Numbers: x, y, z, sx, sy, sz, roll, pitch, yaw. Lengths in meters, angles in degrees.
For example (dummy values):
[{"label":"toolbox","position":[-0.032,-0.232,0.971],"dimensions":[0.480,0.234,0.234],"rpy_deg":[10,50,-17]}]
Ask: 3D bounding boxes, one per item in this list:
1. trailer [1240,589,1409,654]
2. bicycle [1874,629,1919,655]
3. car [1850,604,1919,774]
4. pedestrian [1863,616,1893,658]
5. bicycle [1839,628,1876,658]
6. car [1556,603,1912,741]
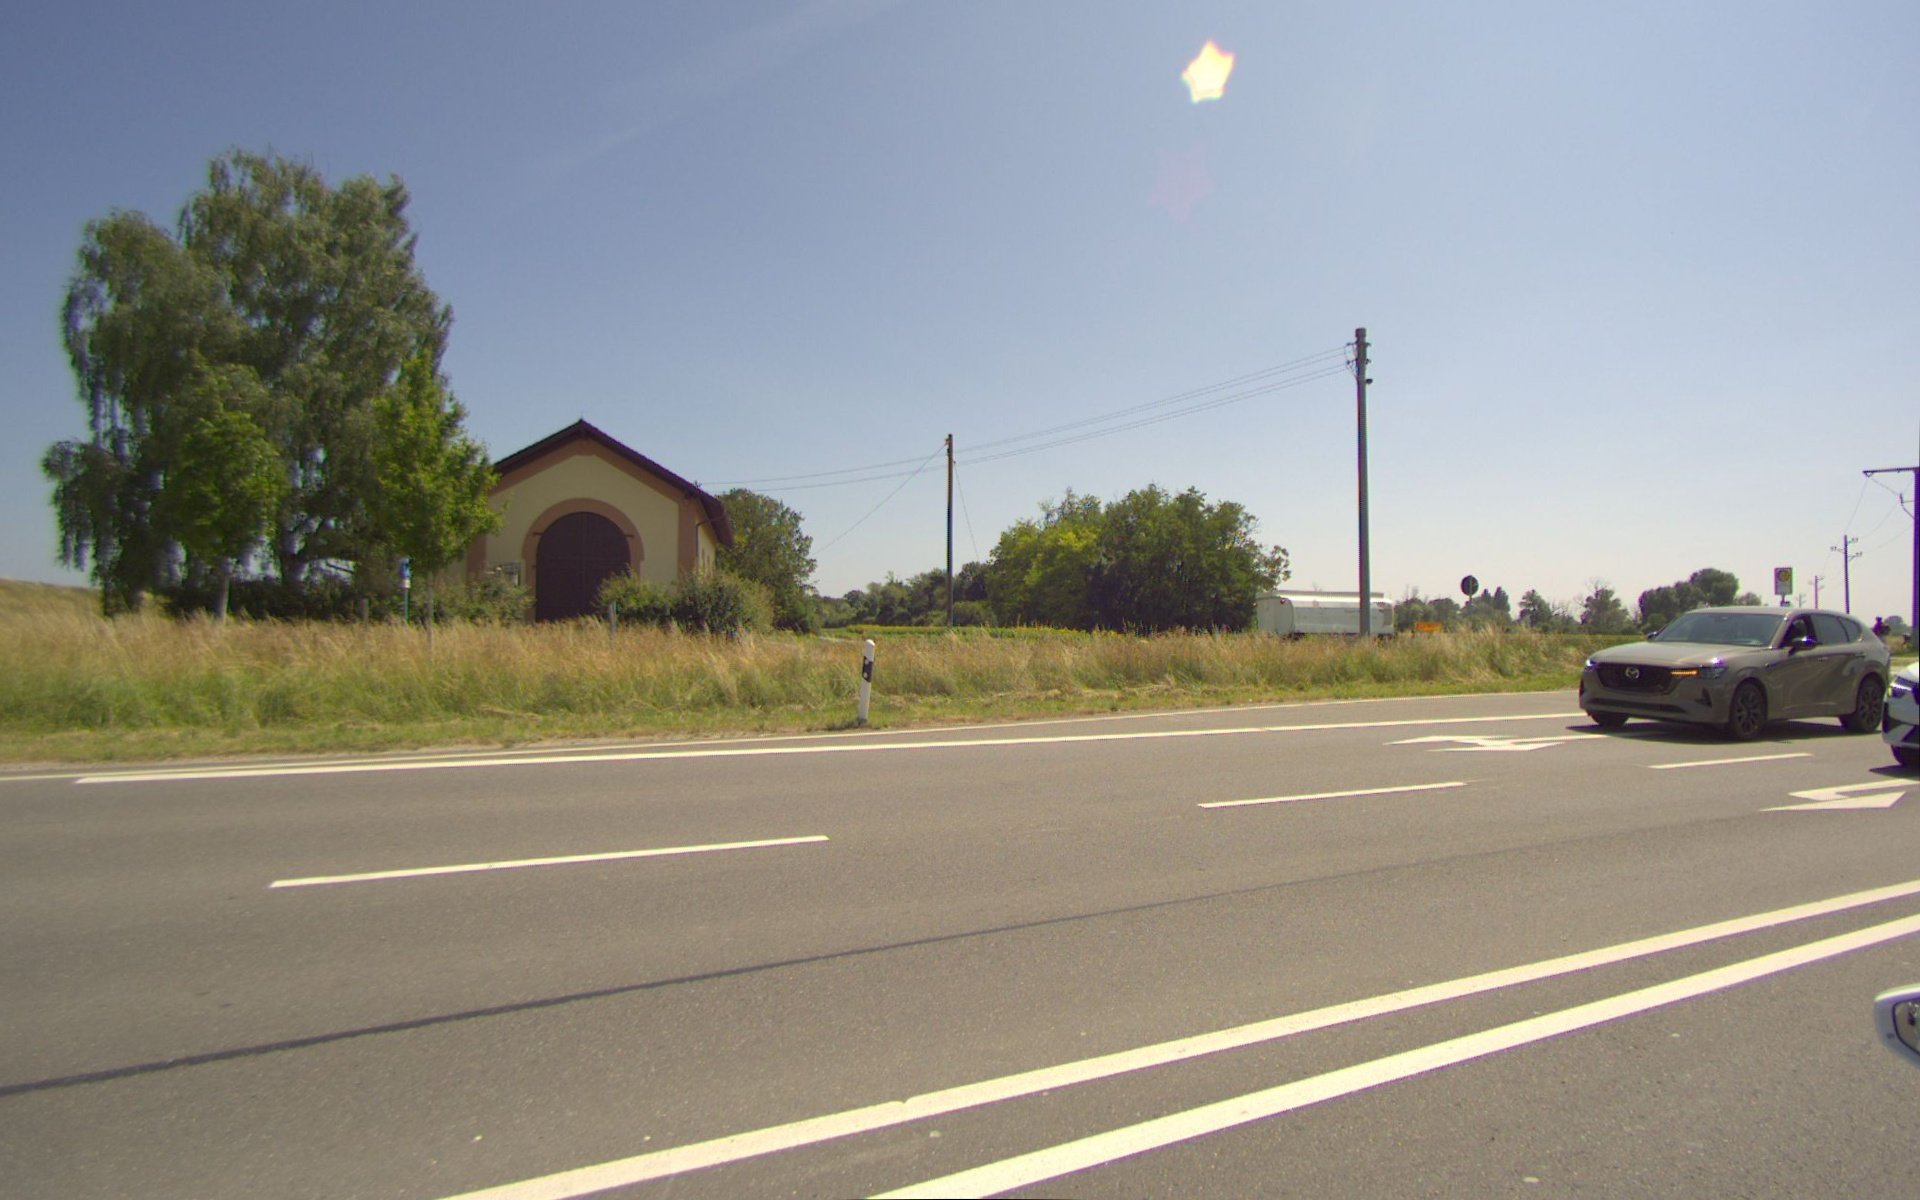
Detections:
[{"label":"trailer","position":[14.864,0.875,40.949],"dimensions":[6.287,2.488,2.674],"rpy_deg":[1,0,-21]},{"label":"bicycle","position":[53.474,2.381,56.716],"dimensions":[0.893,1.389,2.591],"rpy_deg":[4,-4,-35]},{"label":"car","position":[11.811,0.945,10.654],"dimensions":[4.779,1.672,1.872],"rpy_deg":[2,0,-26]},{"label":"pedestrian","position":[40.280,1.629,44.064],"dimensions":[0.832,1.809,0.609],"rpy_deg":[2,0,-15]},{"label":"bicycle","position":[39.751,1.895,44.488],"dimensions":[1.486,1.264,0.491],"rpy_deg":[2,-1,-16]},{"label":"car","position":[10.846,0.920,14.066],"dimensions":[4.722,1.672,1.957],"rpy_deg":[1,-1,-24]}]
